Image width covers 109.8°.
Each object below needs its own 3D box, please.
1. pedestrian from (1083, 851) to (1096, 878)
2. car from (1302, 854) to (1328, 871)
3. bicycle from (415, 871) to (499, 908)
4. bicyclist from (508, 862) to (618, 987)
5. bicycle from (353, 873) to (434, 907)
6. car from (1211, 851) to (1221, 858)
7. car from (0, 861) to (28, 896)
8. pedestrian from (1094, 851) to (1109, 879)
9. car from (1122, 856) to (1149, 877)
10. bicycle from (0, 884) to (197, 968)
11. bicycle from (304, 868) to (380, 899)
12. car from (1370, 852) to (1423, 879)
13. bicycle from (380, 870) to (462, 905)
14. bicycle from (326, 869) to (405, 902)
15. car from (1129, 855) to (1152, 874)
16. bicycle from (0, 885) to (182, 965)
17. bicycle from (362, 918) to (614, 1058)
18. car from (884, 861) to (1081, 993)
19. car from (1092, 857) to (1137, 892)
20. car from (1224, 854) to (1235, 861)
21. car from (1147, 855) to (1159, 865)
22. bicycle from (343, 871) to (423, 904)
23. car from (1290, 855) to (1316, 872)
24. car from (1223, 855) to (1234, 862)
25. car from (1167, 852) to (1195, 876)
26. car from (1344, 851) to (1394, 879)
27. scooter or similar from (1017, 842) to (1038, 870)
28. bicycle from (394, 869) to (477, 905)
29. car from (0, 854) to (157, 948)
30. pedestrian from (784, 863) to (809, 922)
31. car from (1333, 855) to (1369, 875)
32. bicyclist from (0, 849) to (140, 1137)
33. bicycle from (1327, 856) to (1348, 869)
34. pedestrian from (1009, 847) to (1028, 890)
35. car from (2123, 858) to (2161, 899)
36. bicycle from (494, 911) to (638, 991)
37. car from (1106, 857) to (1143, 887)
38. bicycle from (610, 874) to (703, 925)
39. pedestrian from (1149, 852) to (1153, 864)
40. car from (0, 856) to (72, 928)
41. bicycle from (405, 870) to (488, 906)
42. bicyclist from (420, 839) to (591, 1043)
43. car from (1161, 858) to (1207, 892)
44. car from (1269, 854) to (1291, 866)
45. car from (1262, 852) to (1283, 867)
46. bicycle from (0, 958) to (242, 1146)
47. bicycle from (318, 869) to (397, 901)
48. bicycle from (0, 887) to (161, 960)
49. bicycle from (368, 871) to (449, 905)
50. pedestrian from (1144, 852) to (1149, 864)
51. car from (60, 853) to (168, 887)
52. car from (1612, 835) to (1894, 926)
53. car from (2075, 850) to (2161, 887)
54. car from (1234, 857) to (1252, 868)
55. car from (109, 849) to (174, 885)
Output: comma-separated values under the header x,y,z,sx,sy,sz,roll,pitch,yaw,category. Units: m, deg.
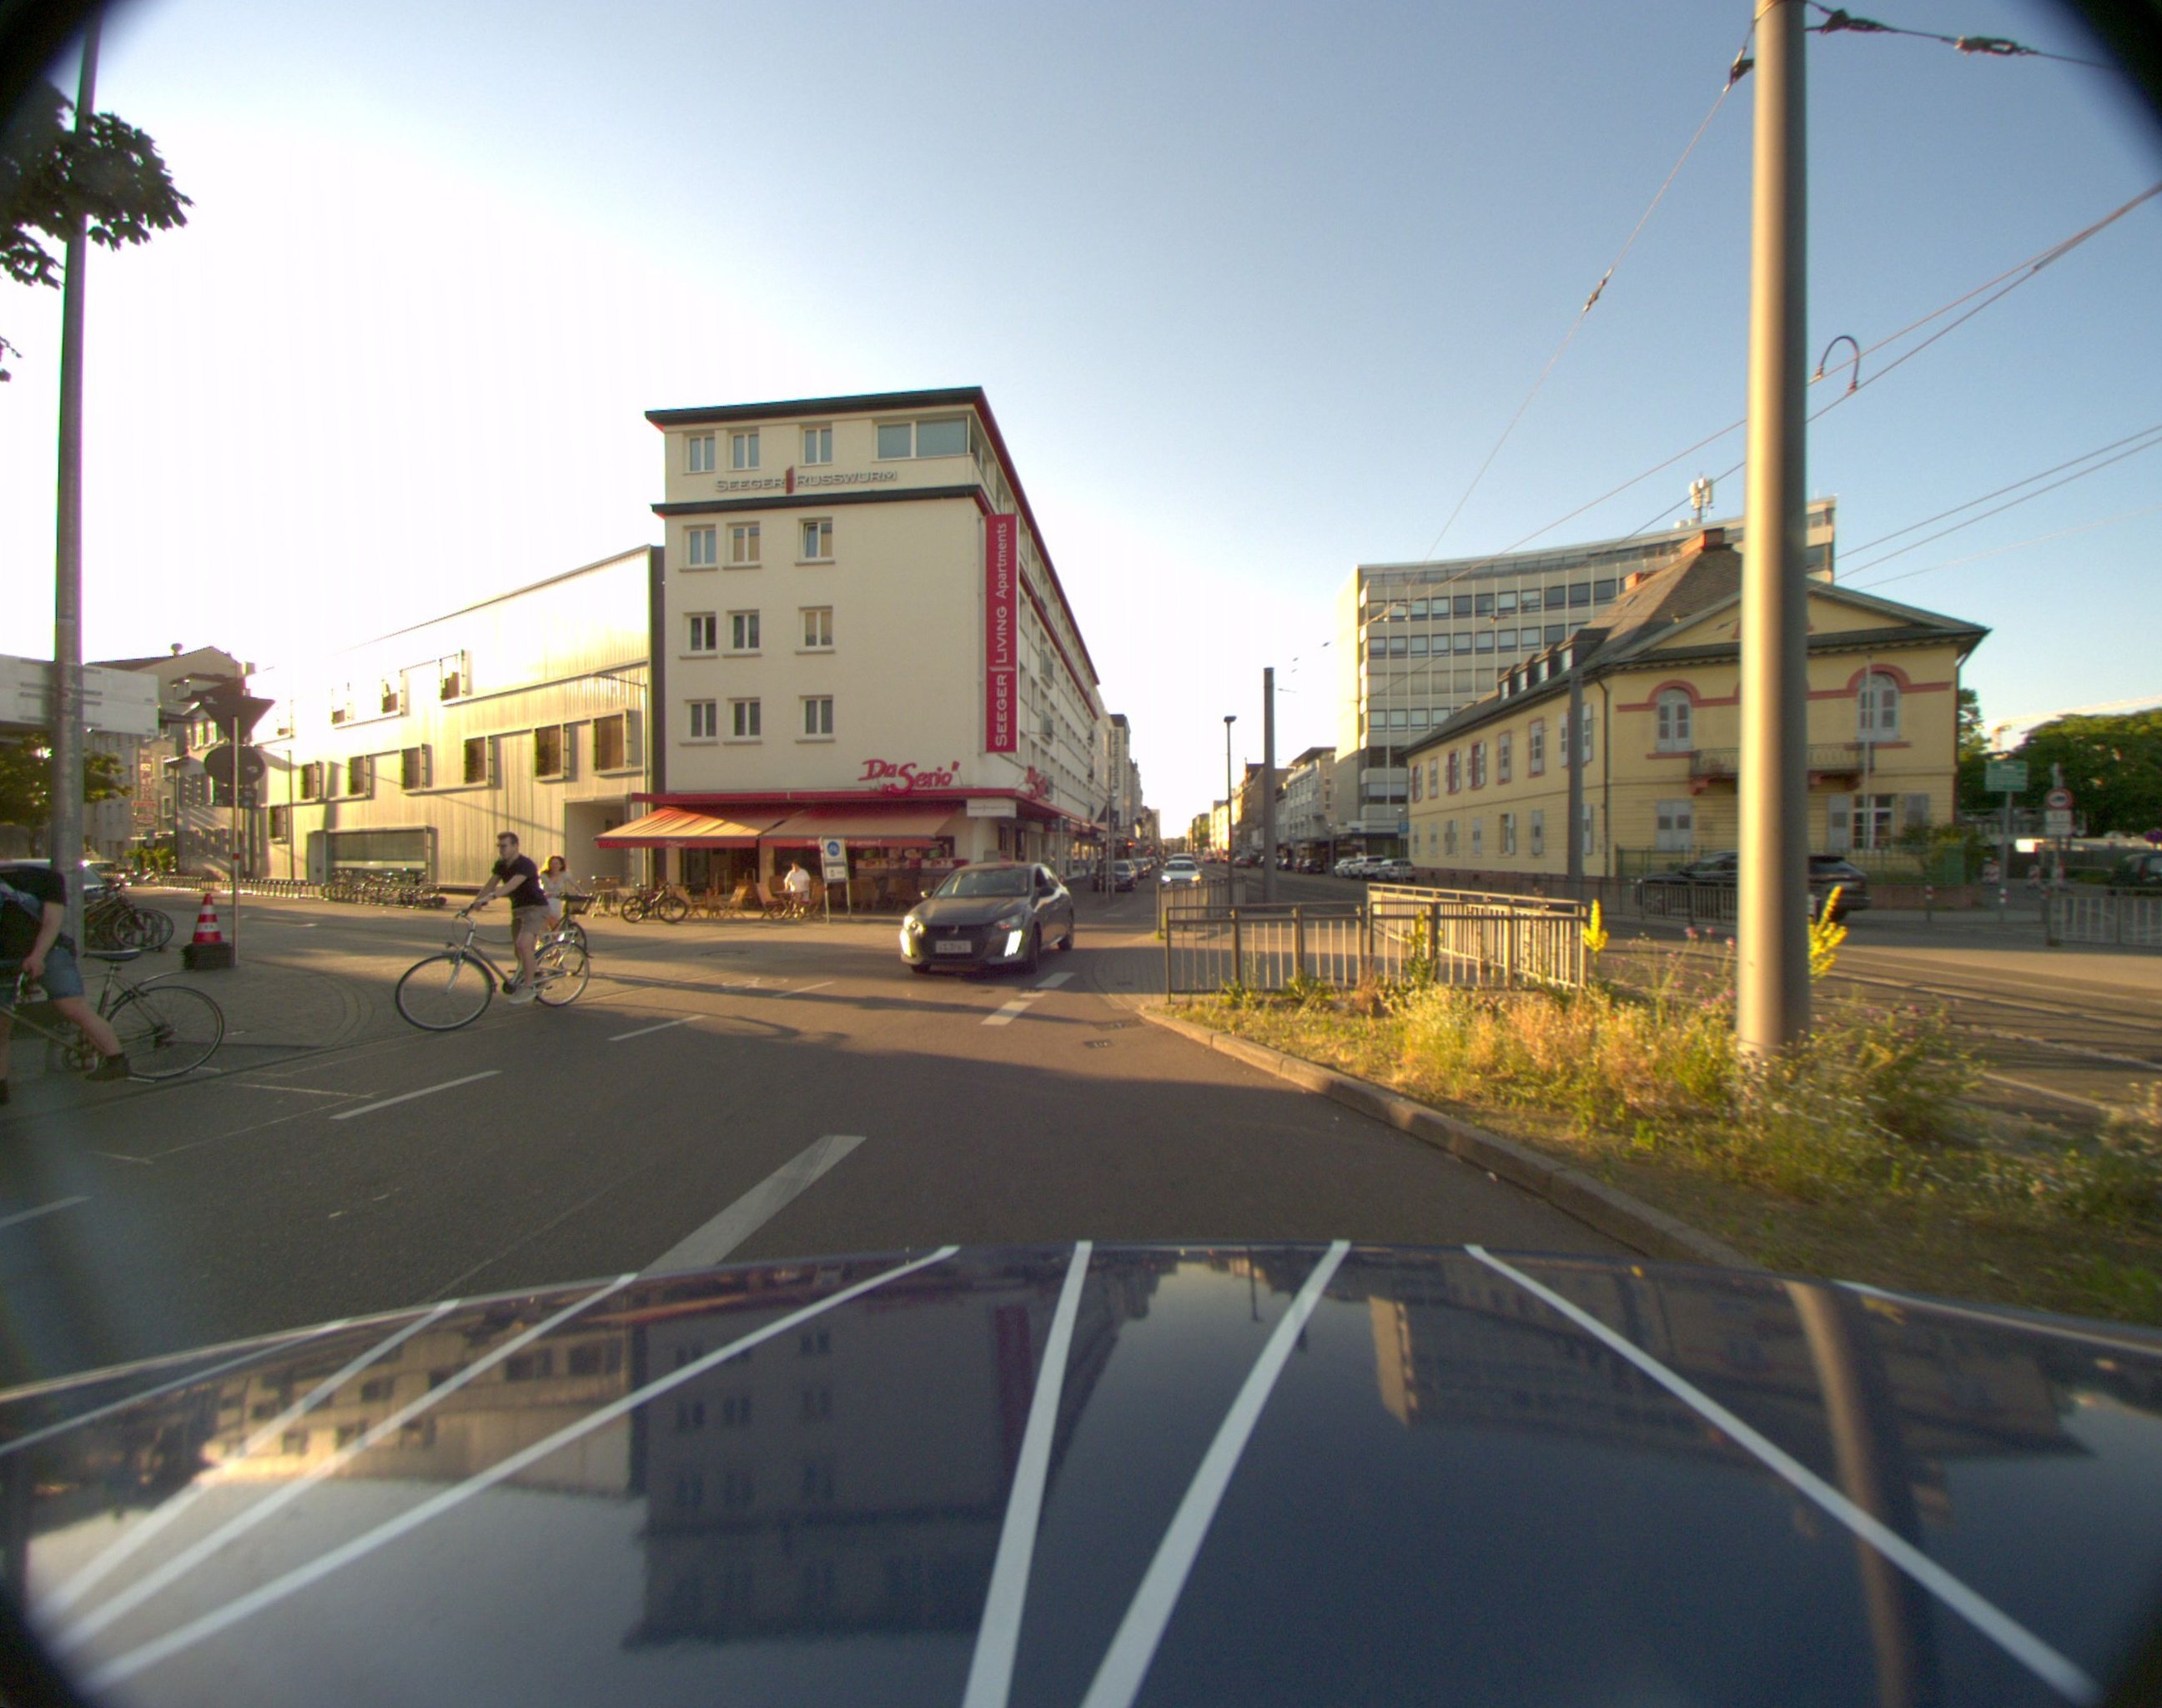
x,y,z,sx,sy,sz,roll,pitch,yaw,category
0.556,0.660,49.256,0.730,1.731,0.863,1,1,7,pedestrian
22.361,0.792,72.809,1.689,1.503,4.217,0,0,7,car
-21.403,1.209,26.105,0.702,1.213,2.117,0,-1,29,bicycle
-7.112,0.915,10.439,1.112,1.613,0.842,0,1,30,bicyclist
-25.683,1.307,28.409,0.702,1.213,2.117,0,-1,29,bicycle
31.059,0.070,175.205,1.997,1.543,4.002,0,0,7,car
-45.185,1.020,29.946,2.000,1.422,3.997,0,0,-7,car
1.312,0.692,48.590,0.828,1.708,0.843,1,1,7,pedestrian
4.116,0.904,56.760,1.738,1.503,4.305,1,0,7,car
-15.963,1.110,12.252,0.702,1.213,2.117,0,-1,29,bicycle
-30.313,1.203,31.211,0.703,1.213,2.117,0,-1,22,bicycle
19.676,0.688,47.568,1.816,1.608,4.216,0,0,4,car
-23.890,1.201,27.553,0.702,1.213,2.117,0,-1,29,bicycle
-27.711,1.203,29.477,0.702,1.213,2.117,0,-1,29,bicycle
5.000,0.847,62.916,1.793,1.503,4.714,1,0,5,car
-16.912,1.158,12.836,0.702,1.213,2.117,0,-1,29,bicycle
-5.734,1.241,7.571,0.840,1.014,2.077,0,1,1,bicycle
-1.197,0.903,11.256,1.731,1.513,4.336,-1,0,8,car
1.659,0.920,36.327,1.738,1.503,4.688,1,0,7,car
30.656,0.716,156.655,1.997,1.543,4.002,0,0,6,car
11.223,0.892,117.900,1.681,1.534,3.888,1,0,7,car
-26.541,1.267,28.945,0.702,1.213,2.117,0,-1,29,bicycle
22.749,0.969,77.919,1.689,1.503,4.217,7,1,7,car
32.618,1.032,168.488,1.997,1.543,4.208,0,0,6,car
7.550,0.718,57.675,1.998,1.805,4.001,0,0,5,car
19.936,0.709,52.808,1.817,1.775,4.498,-3,0,2,car
-2.328,0.102,33.064,0.357,1.195,1.246,0,0,-31,scooter or similar
-22.870,1.147,26.963,0.702,1.213,2.117,0,-1,29,bicycle
-21.653,0.884,15.917,3.990,1.740,1.897,0,1,24,car
-7.630,1.020,20.401,0.574,1.532,0.572,-1,1,-17,pedestrian
20.880,0.823,58.977,1.816,1.503,4.435,0,0,8,car
-6.879,0.880,5.076,0.466,1.819,0.559,0,1,-2,bicyclist
27.346,0.899,81.060,1.972,1.417,0.834,0,1,5,bicycle
-2.595,0.578,31.461,0.605,1.750,0.525,-1,1,-39,pedestrian
40.905,0.901,27.971,1.994,1.477,4.102,0,0,39,car
-7.086,1.286,10.439,2.007,0.876,0.842,0,1,30,bicycle
2.482,0.963,42.650,1.788,1.503,4.054,1,0,7,car
-11.035,1.168,19.770,2.110,1.280,0.705,0,1,10,bicycle
10.211,0.549,110.512,0.605,1.717,0.646,0,1,6,pedestrian
-27.712,0.915,19.412,4.421,1.739,1.898,0,-1,32,car
-22.153,1.170,26.569,0.702,1.213,2.117,0,-1,29,bicycle
-5.727,0.813,7.641,0.839,1.906,1.115,0,0,2,bicyclist
4.690,0.907,35.094,1.997,1.450,4.002,0,0,6,car
24.633,0.719,94.184,1.997,1.457,4.560,-1,0,6,car
25.622,0.739,101.584,1.959,1.965,5.165,0,0,6,car
-6.881,1.308,5.128,0.466,0.965,1.800,0,0,-2,bicycle
-28.383,1.214,29.838,0.702,1.213,2.117,0,-1,29,bicycle
-18.010,1.200,13.418,0.702,1.212,2.118,0,-3,29,bicycle
-24.814,1.232,28.065,0.702,1.213,2.117,0,-1,29,bicycle
9.516,0.537,110.603,0.610,1.743,0.605,0,1,6,pedestrian
-61.694,0.977,48.545,1.995,2.002,4.007,-1,0,32,car
15.931,0.547,18.439,2.001,1.890,4.805,0,0,-15,car
43.739,0.569,31.575,1.994,1.477,4.102,0,0,39,car
22.514,1.179,105.804,1.739,1.503,4.035,0,0,2,car
-55.336,0.792,44.724,4.246,2.002,2.004,-2,0,34,car
